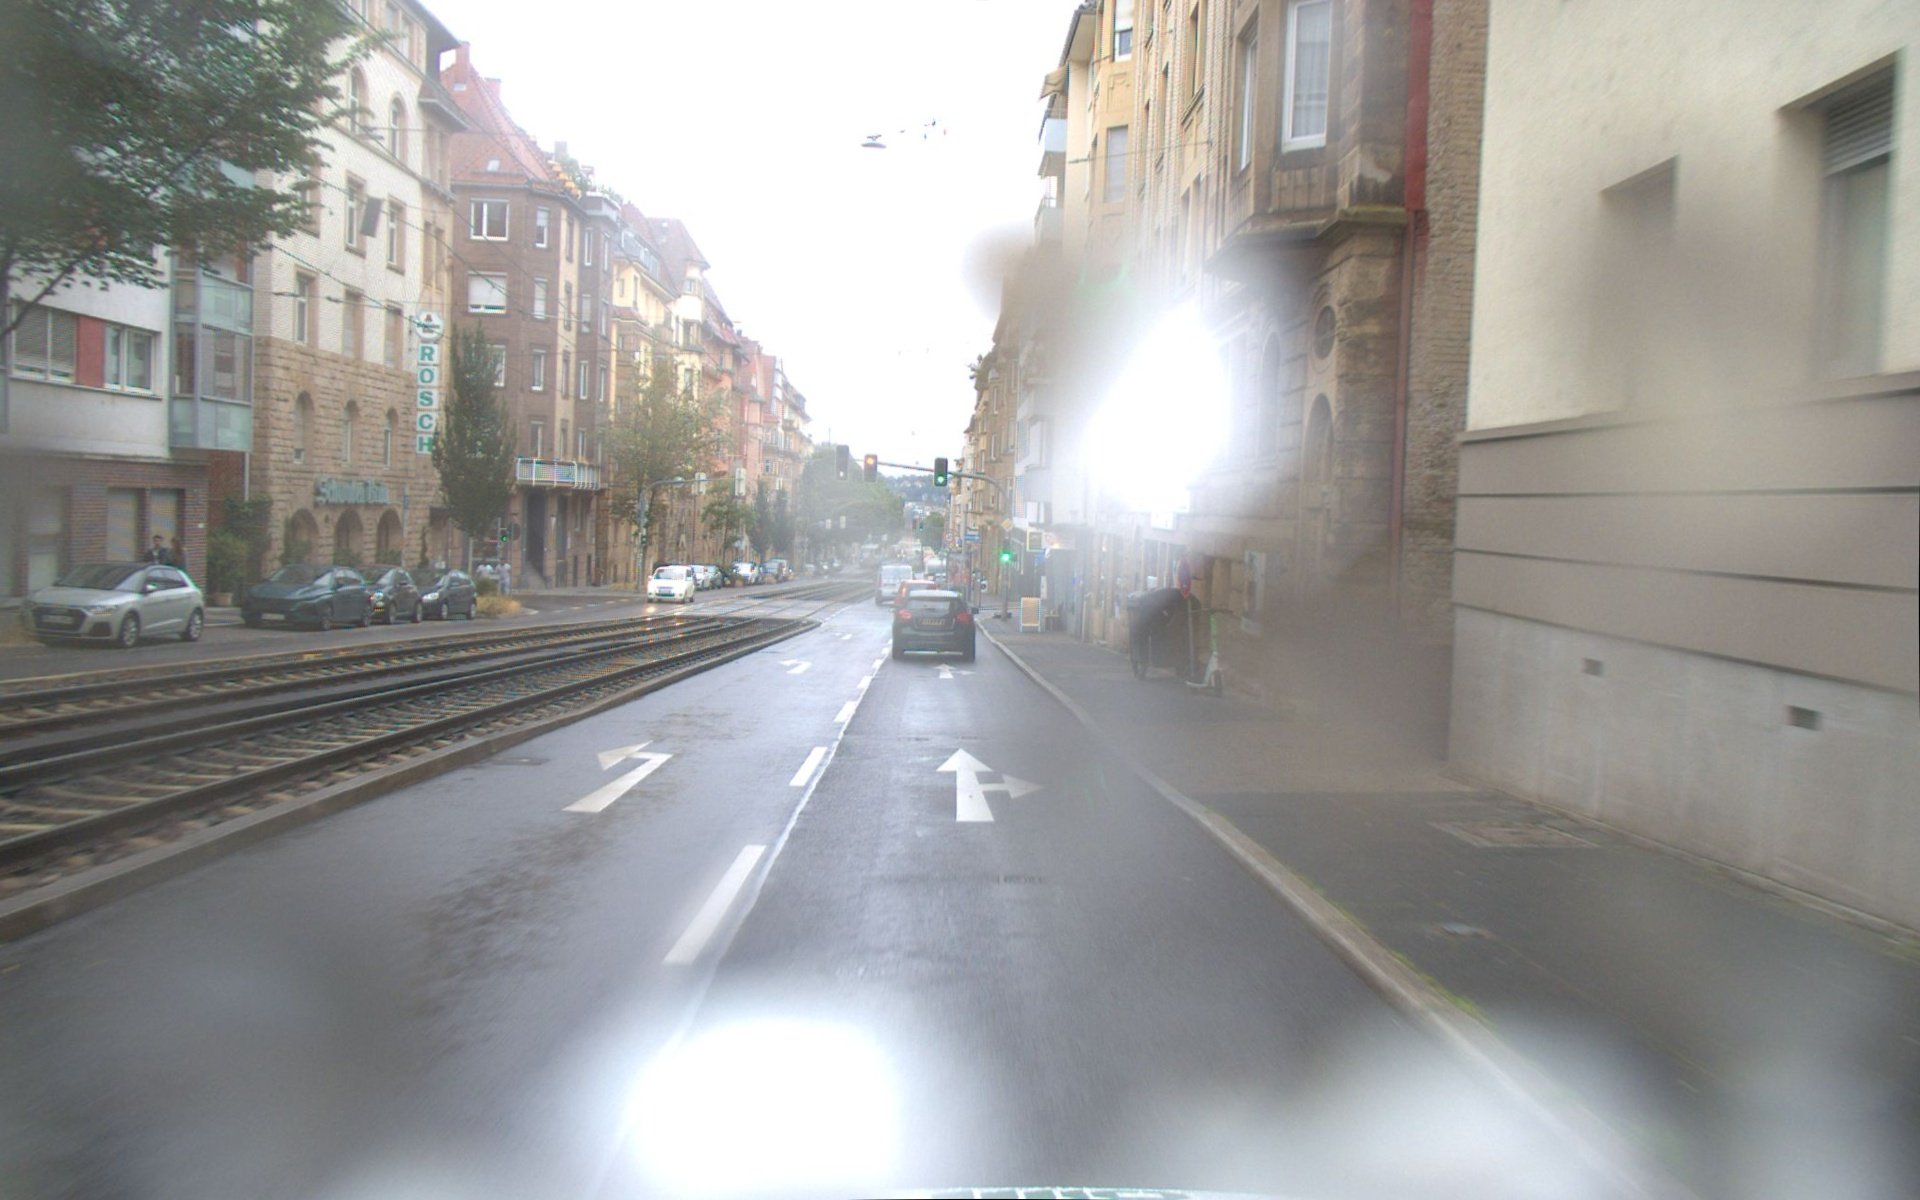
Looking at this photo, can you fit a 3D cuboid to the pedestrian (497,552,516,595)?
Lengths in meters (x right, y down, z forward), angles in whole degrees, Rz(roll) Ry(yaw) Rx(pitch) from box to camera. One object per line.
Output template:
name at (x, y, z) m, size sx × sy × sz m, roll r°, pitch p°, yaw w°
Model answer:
pedestrian at (-17.140, -1.010, 62.496) m, size 0.506 × 1.598 × 0.644 m, roll 1°, pitch 0°, yaw 3°

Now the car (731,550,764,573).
car at (-15.843, -2.861, 123.640) m, size 1.747 × 1.617 × 4.352 m, roll 1°, pitch 1°, yaw 2°

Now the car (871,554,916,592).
car at (-3.259, -1.304, 80.317) m, size 1.884 × 1.684 × 3.995 m, roll 3°, pitch 1°, yaw -6°

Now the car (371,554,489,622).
car at (-15.235, -0.360, 47.763) m, size 1.847 × 1.757 × 3.742 m, roll 4°, pitch 1°, yaw 4°

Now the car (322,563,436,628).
car at (-15.064, -0.135, 43.061) m, size 1.771 × 1.524 × 3.525 m, roll 3°, pitch 1°, yaw -2°

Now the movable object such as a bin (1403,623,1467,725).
movable object such as a bin at (4.968, 0.770, 17.312) m, size 0.491 × 1.032 × 0.476 m, roll 2°, pitch 0°, yaw -3°

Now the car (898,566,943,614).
car at (-1.416, -0.393, 59.866) m, size 1.504 × 1.536 × 4.000 m, roll 2°, pitch 2°, yaw -1°

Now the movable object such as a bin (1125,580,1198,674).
movable object such as a bin at (3.254, 0.418, 26.869) m, size 0.988 × 1.476 × 1.393 m, roll 0°, pitch 1°, yaw -1°

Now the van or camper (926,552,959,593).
van or camper at (-1.127, -1.760, 105.620) m, size 2.022 × 2.512 × 6.118 m, roll 1°, pitch 1°, yaw -1°

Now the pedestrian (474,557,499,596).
pedestrian at (-17.859, -0.881, 62.372) m, size 0.739 × 1.446 × 0.645 m, roll 1°, pitch 0°, yaw 1°

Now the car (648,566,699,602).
car at (-12.544, -0.717, 72.569) m, size 1.594 × 1.507 × 3.581 m, roll 2°, pitch 1°, yaw 0°

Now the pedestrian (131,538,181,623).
pedestrian at (-17.509, -0.422, 36.026) m, size 0.659 × 1.803 × 0.782 m, roll 2°, pitch 0°, yaw -1°

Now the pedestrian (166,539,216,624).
pedestrian at (-16.768, -0.406, 36.070) m, size 0.659 × 1.803 × 0.782 m, roll 2°, pitch 0°, yaw -1°

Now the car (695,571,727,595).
car at (-15.649, -1.075, 104.121) m, size 1.530 × 1.463 × 4.144 m, roll 1°, pitch 1°, yaw -2°

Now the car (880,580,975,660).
car at (-0.717, 0.383, 35.463) m, size 1.907 × 1.592 × 3.641 m, roll 1°, pitch 1°, yaw -2°

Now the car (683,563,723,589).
car at (-15.402, -1.465, 99.340) m, size 1.633 × 1.450 × 4.263 m, roll 2°, pitch 1°, yaw 0°

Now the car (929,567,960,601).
car at (-0.909, -0.951, 97.142) m, size 1.733 × 1.839 × 4.482 m, roll 2°, pitch 1°, yaw -1°

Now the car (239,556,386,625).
car at (-14.894, -0.241, 38.274) m, size 1.764 × 1.480 × 4.429 m, roll 1°, pitch 1°, yaw -2°

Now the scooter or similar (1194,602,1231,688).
scooter or similar at (3.401, 0.602, 22.304) m, size 0.205 × 1.131 × 0.889 m, roll 0°, pitch -1°, yaw -11°

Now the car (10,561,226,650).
car at (-14.773, 0.070, 29.287) m, size 1.668 × 1.358 × 4.130 m, roll 4°, pitch 1°, yaw -1°
